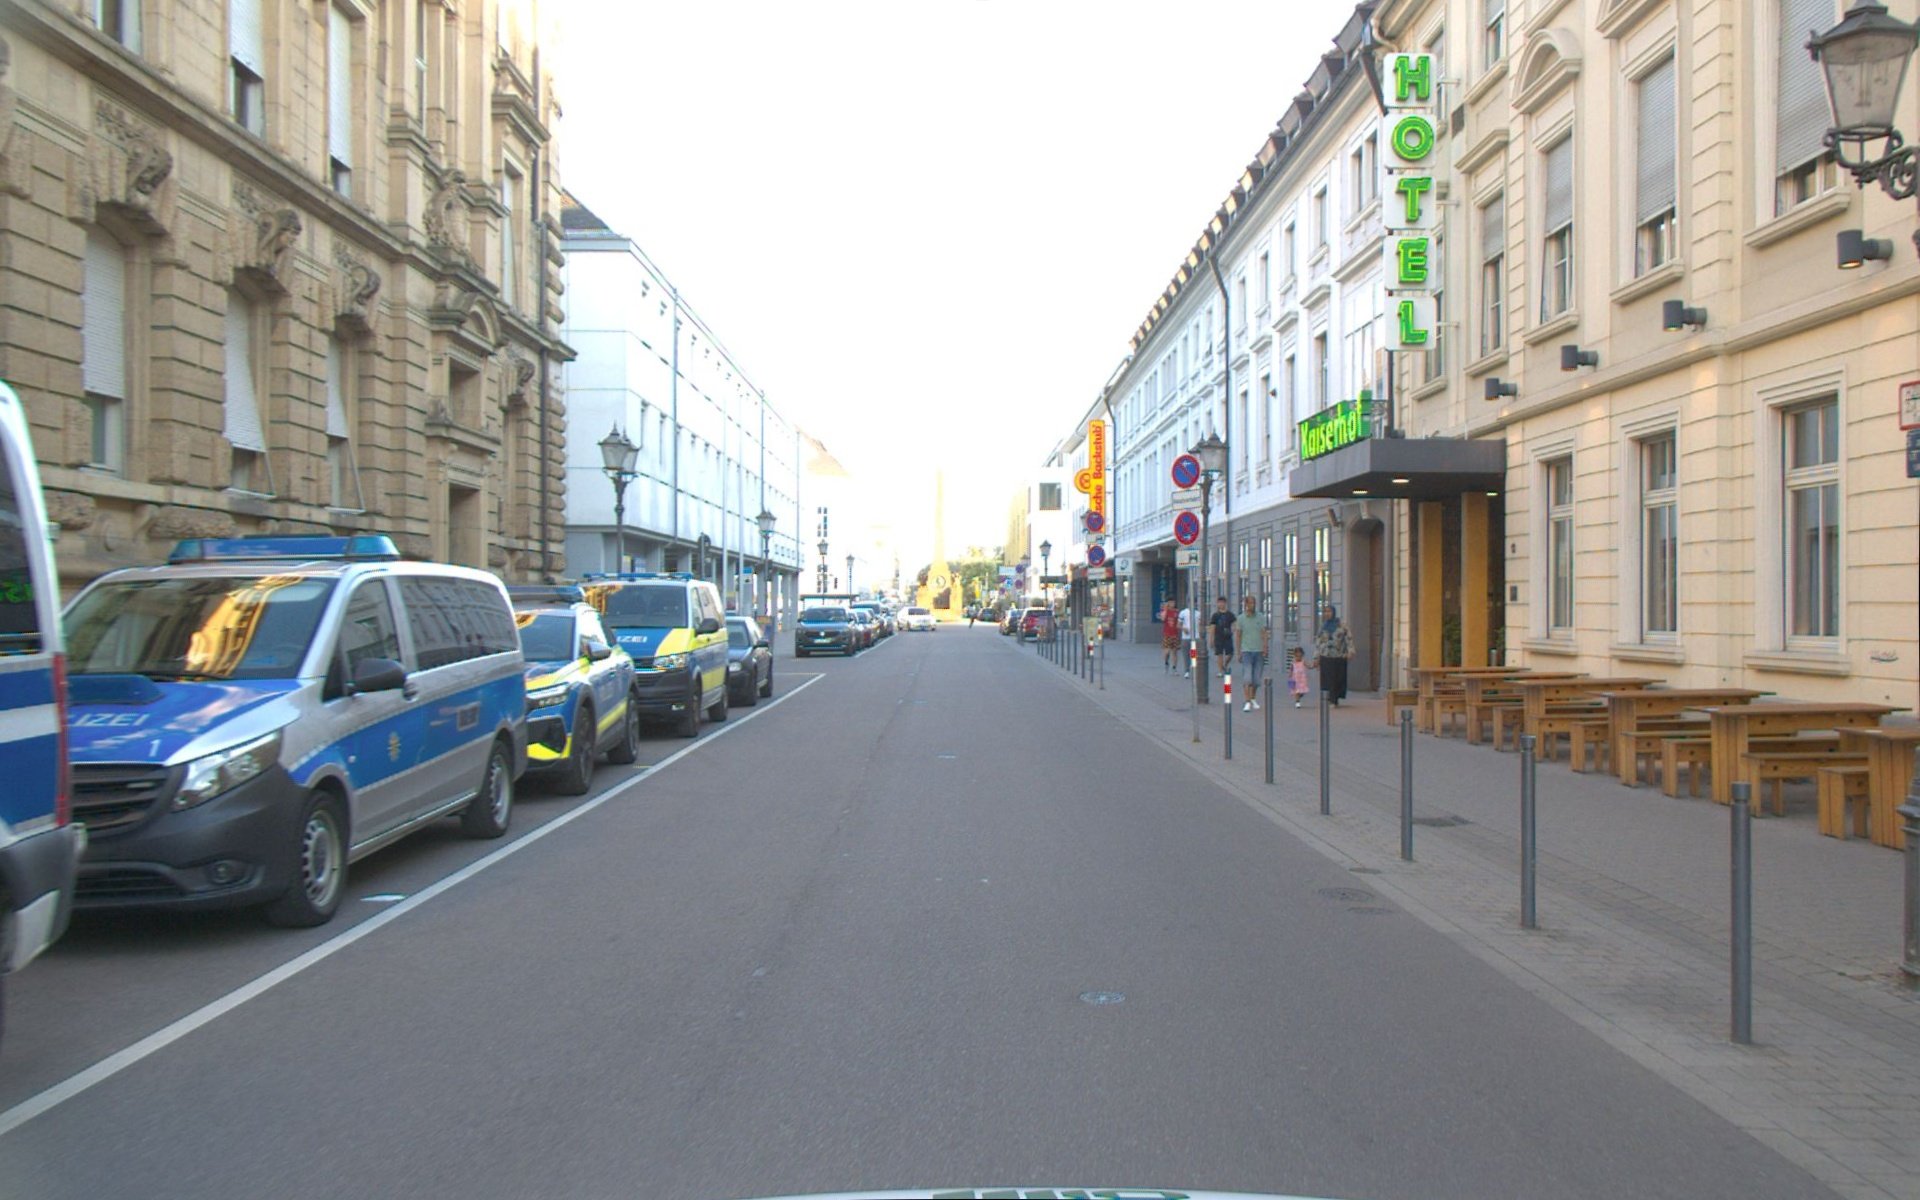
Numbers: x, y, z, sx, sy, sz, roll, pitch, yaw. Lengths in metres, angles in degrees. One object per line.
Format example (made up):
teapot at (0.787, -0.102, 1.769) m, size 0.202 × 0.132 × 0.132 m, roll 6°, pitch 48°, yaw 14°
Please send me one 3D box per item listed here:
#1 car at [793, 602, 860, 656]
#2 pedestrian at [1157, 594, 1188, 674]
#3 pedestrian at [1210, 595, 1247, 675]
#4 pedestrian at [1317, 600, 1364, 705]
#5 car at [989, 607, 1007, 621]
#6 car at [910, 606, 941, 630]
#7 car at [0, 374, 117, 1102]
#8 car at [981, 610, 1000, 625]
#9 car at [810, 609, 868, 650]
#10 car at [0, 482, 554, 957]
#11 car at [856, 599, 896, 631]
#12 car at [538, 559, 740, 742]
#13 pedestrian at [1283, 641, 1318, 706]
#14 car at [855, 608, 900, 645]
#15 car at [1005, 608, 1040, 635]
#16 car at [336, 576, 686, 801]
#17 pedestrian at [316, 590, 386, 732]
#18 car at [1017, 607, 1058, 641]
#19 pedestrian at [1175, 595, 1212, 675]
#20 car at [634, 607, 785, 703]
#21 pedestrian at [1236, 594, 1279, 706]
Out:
car at (-4.199, 0.899, 52.594) m, size 1.748 × 1.643 × 4.166 m, roll 0°, pitch 0°, yaw 1°
pedestrian at (4.910, 0.773, 38.303) m, size 0.607 × 1.821 × 0.913 m, roll 0°, pitch 0°, yaw 1°
pedestrian at (5.982, 0.766, 36.912) m, size 0.698 × 1.760 × 0.873 m, roll 0°, pitch 0°, yaw 2°
pedestrian at (6.006, 0.821, 26.124) m, size 0.617 × 1.629 × 0.615 m, roll 0°, pitch 0°, yaw 1°
car at (4.157, 1.561, 180.765) m, size 1.952 × 1.490 × 4.000 m, roll 0°, pitch 0°, yaw 1°
car at (-2.091, 1.086, 101.714) m, size 1.748 × 1.433 × 4.088 m, roll 0°, pitch 0°, yaw 1°
car at (-3.798, 0.411, 3.112) m, size 1.954 × 2.209 × 5.204 m, roll 0°, pitch 0°, yaw -3°
car at (3.154, 1.815, 172.286) m, size 1.952 × 1.490 × 4.000 m, roll 0°, pitch 0°, yaw 1°
car at (-4.332, 1.040, 59.884) m, size 1.748 × 1.433 × 4.088 m, roll 0°, pitch 0°, yaw 1°
car at (-4.091, 0.563, 10.034) m, size 1.953 × 2.124 × 5.207 m, roll -1°, pitch -1°, yaw 0°
car at (-4.491, 0.800, 89.163) m, size 1.953 × 1.691 × 4.000 m, roll 0°, pitch 0°, yaw 0°
car at (-4.078, 0.616, 21.803) m, size 1.954 × 2.114 × 4.986 m, roll -1°, pitch -1°, yaw -3°
pedestrian at (5.403, 1.163, 26.288) m, size 0.450 × 0.997 × 0.558 m, roll 0°, pitch 0°, yaw 1°
car at (-4.064, 1.289, 82.357) m, size 1.953 × 1.758 × 4.515 m, roll -2°, pitch 0°, yaw 0°
car at (3.422, 1.163, 90.725) m, size 1.764 × 1.490 × 4.117 m, roll 0°, pitch 0°, yaw 0°
car at (-4.019, 0.735, 15.767) m, size 1.952 × 1.783 × 4.990 m, roll -1°, pitch -1°, yaw 0°
pedestrian at (-7.706, 0.758, 20.948) m, size 0.570 × 1.760 × 0.831 m, roll 0°, pitch 0°, yaw 1°
car at (3.569, 1.088, 76.784) m, size 1.723 × 1.550 × 3.677 m, roll 0°, pitch 0°, yaw 0°
pedestrian at (5.156, 0.771, 36.583) m, size 0.732 × 1.760 × 0.881 m, roll 0°, pitch 0°, yaw 3°
car at (-4.220, 0.899, 28.498) m, size 1.953 × 1.521 × 4.164 m, roll -1°, pitch -1°, yaw 0°
pedestrian at (4.720, 0.788, 26.272) m, size 0.594 × 1.760 × 0.558 m, roll 0°, pitch 0°, yaw 1°
